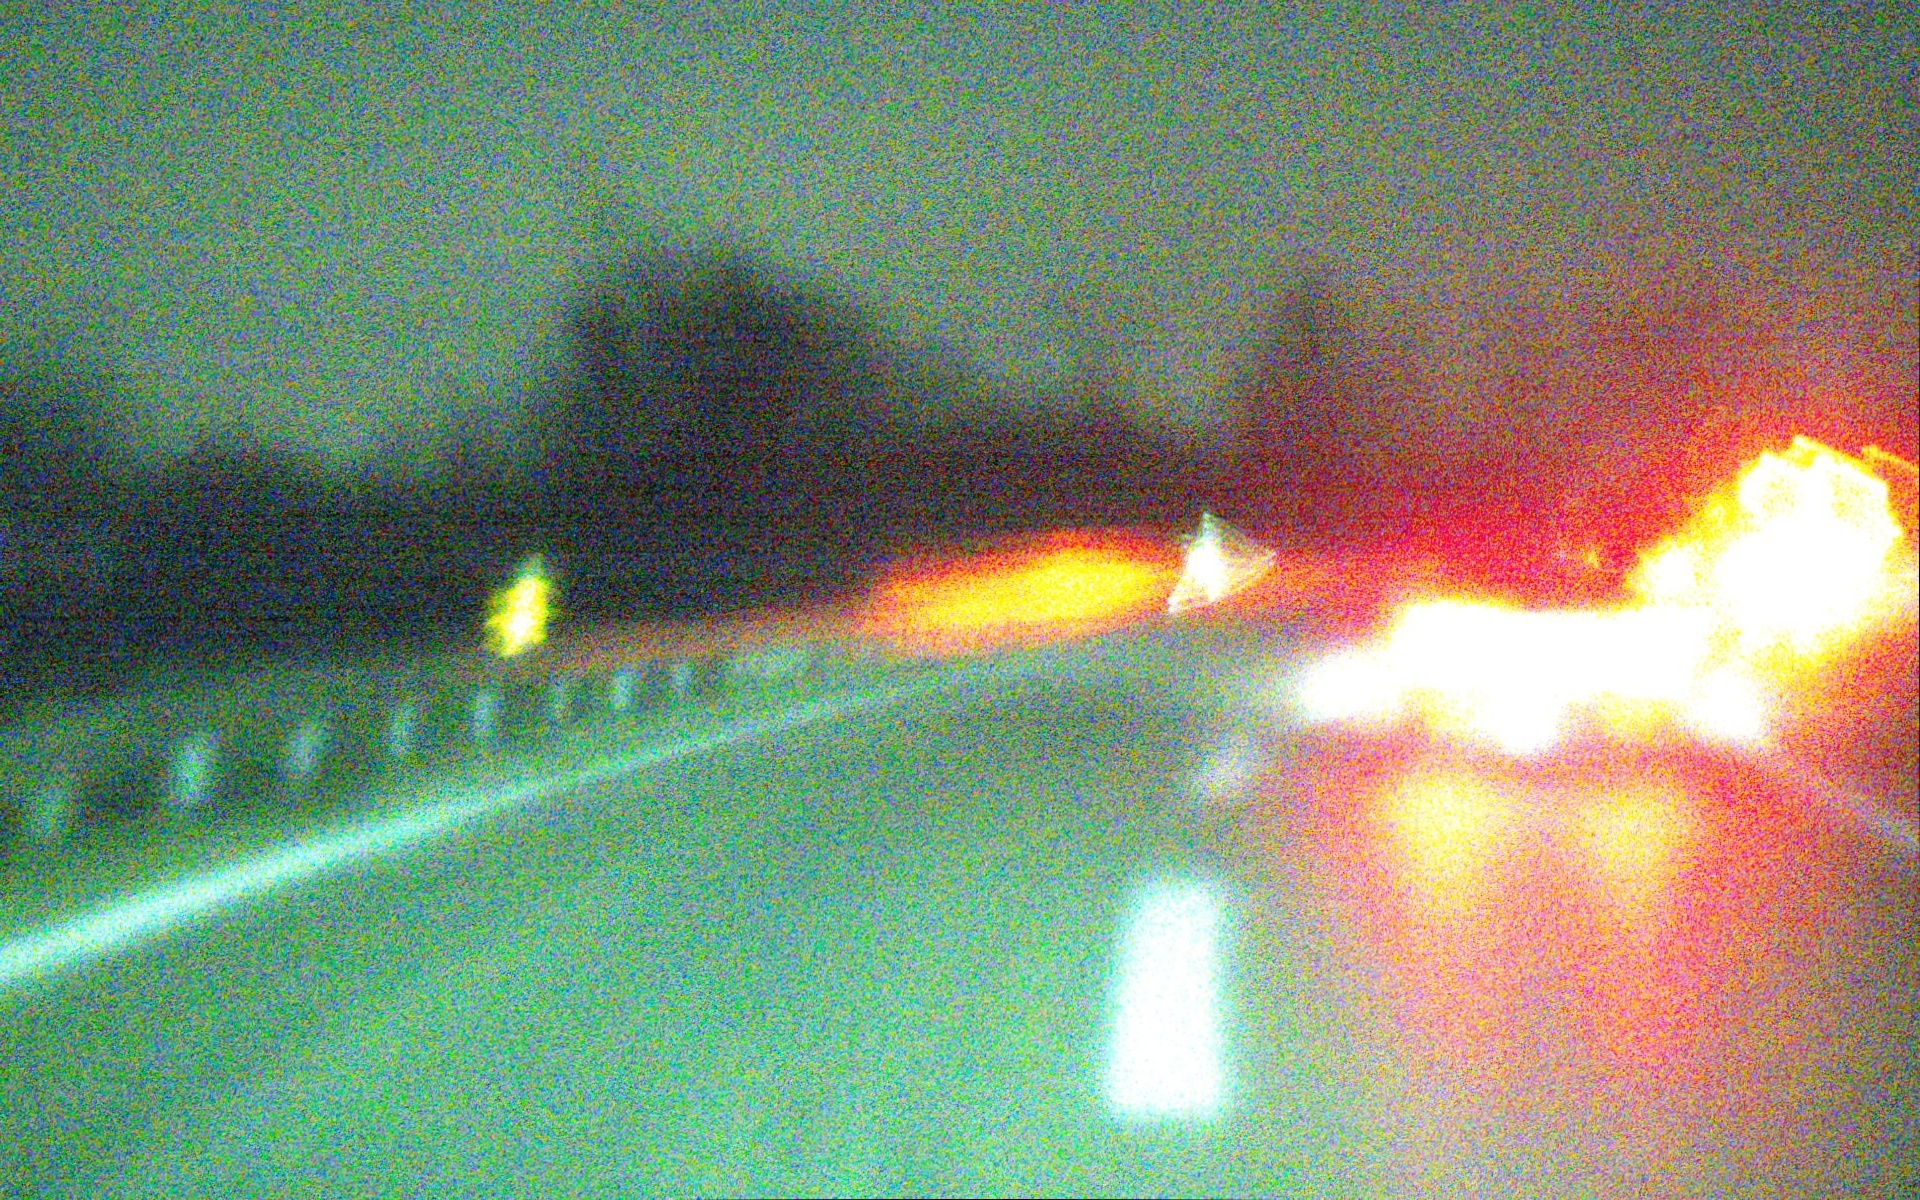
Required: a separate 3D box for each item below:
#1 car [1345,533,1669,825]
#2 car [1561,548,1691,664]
[{"bbox_3d":[3.817,0.501,23.794,1.994,1.801,3.998,1,0,10],"label":"car"},{"bbox_3d":[10.951,0.101,56.752,1.994,1.801,3.998,1,0,10],"label":"car"}]
